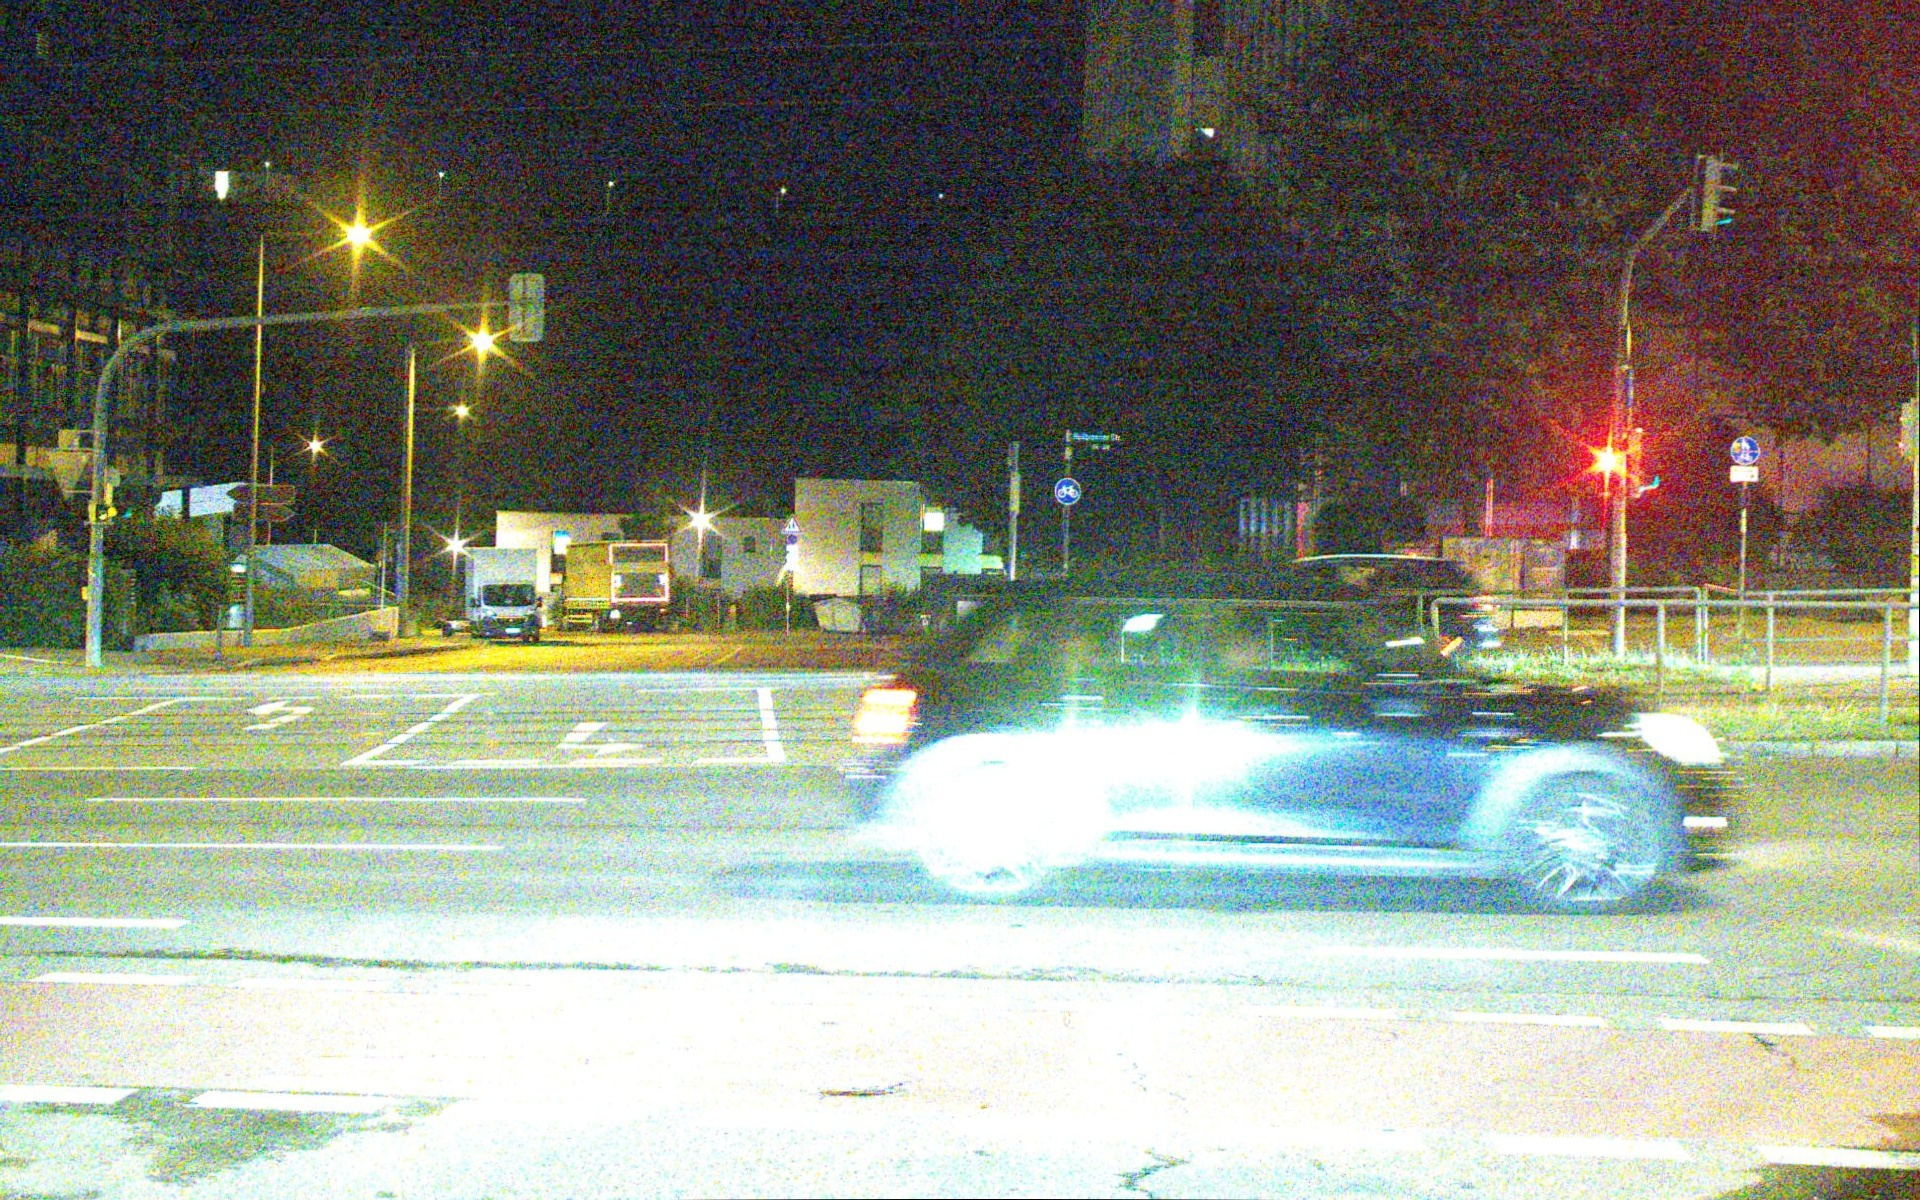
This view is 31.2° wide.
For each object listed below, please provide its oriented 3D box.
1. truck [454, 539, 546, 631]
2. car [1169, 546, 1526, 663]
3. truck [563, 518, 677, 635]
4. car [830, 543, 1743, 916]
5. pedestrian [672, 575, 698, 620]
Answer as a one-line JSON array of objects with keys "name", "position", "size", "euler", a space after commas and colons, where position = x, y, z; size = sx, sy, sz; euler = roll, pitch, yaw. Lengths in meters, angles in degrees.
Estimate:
[{"name": "truck", "position": [-16.063, -0.524, 119.684], "size": [2.417, 3.078, 6.439], "euler": [1, 0, -14]}, {"name": "car", "position": [4.805, 0.058, 43.099], "size": [4.327, 1.383, 1.843], "euler": [-1, 0, 3]}, {"name": "truck", "position": [-14.770, -0.996, 148.854], "size": [3.359, 4.826, 7.908], "euler": [1, 0, -17]}, {"name": "car", "position": [1.405, 0.544, 15.506], "size": [3.876, 1.468, 1.659], "euler": [-1, 3, 1]}, {"name": "pedestrian", "position": [-11.810, -0.121, 147.469], "size": [0.849, 1.905, 1.007], "euler": [1, 0, -18]}]
